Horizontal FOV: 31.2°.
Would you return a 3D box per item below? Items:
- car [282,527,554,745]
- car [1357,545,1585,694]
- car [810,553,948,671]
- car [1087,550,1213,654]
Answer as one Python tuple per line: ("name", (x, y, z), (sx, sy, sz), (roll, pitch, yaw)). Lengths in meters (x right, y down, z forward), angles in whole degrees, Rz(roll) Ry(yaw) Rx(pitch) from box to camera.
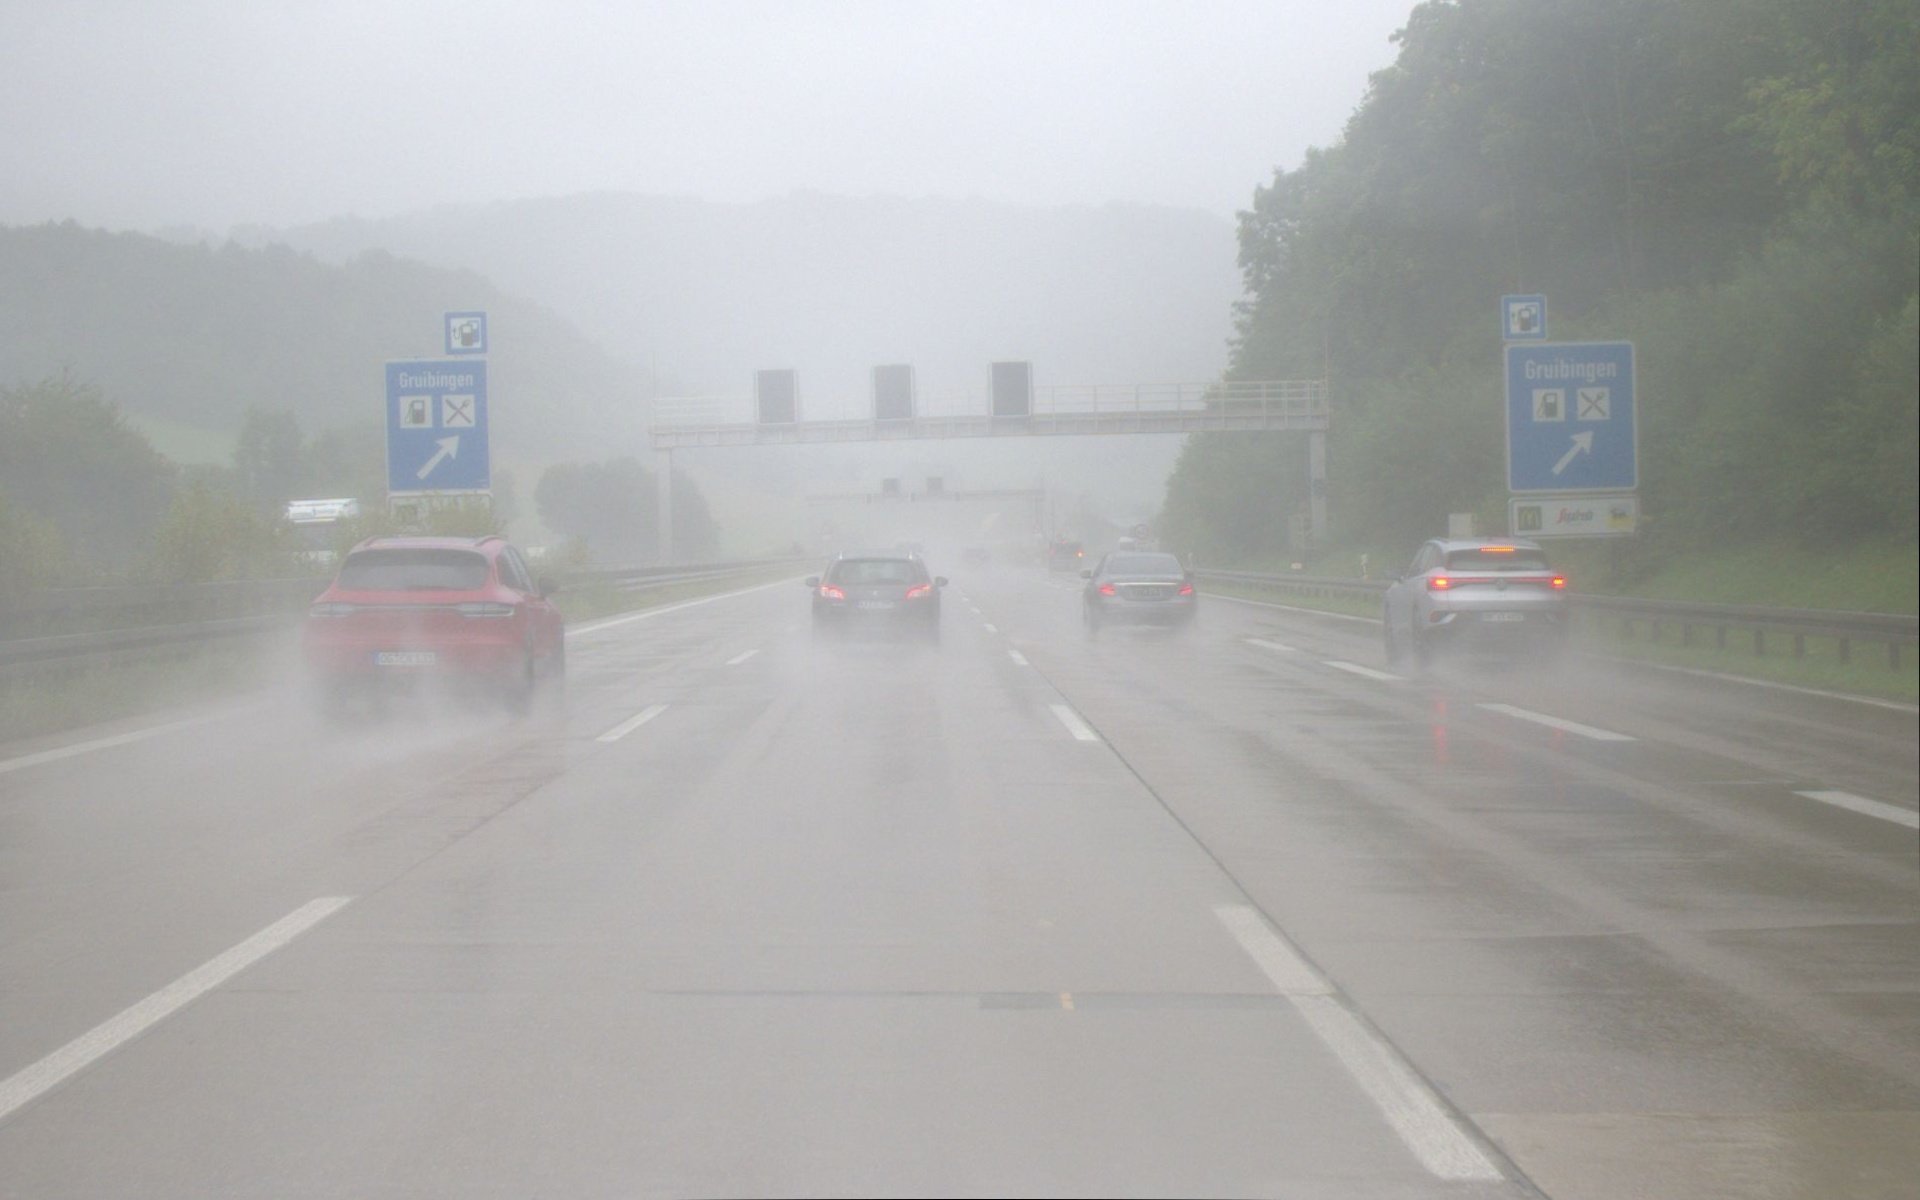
("car", (-4.743, 0.264, 30.611), (1.884, 1.809, 4.000), (0, 1, -2))
("car", (6.398, 0.199, 43.675), (1.993, 1.744, 5.663), (1, 1, -1))
("car", (-1.124, 0.142, 48.670), (1.859, 1.584, 4.000), (1, 1, -1))
("car", (3.337, 0.007, 61.029), (1.971, 1.754, 4.000), (0, 1, -1))
